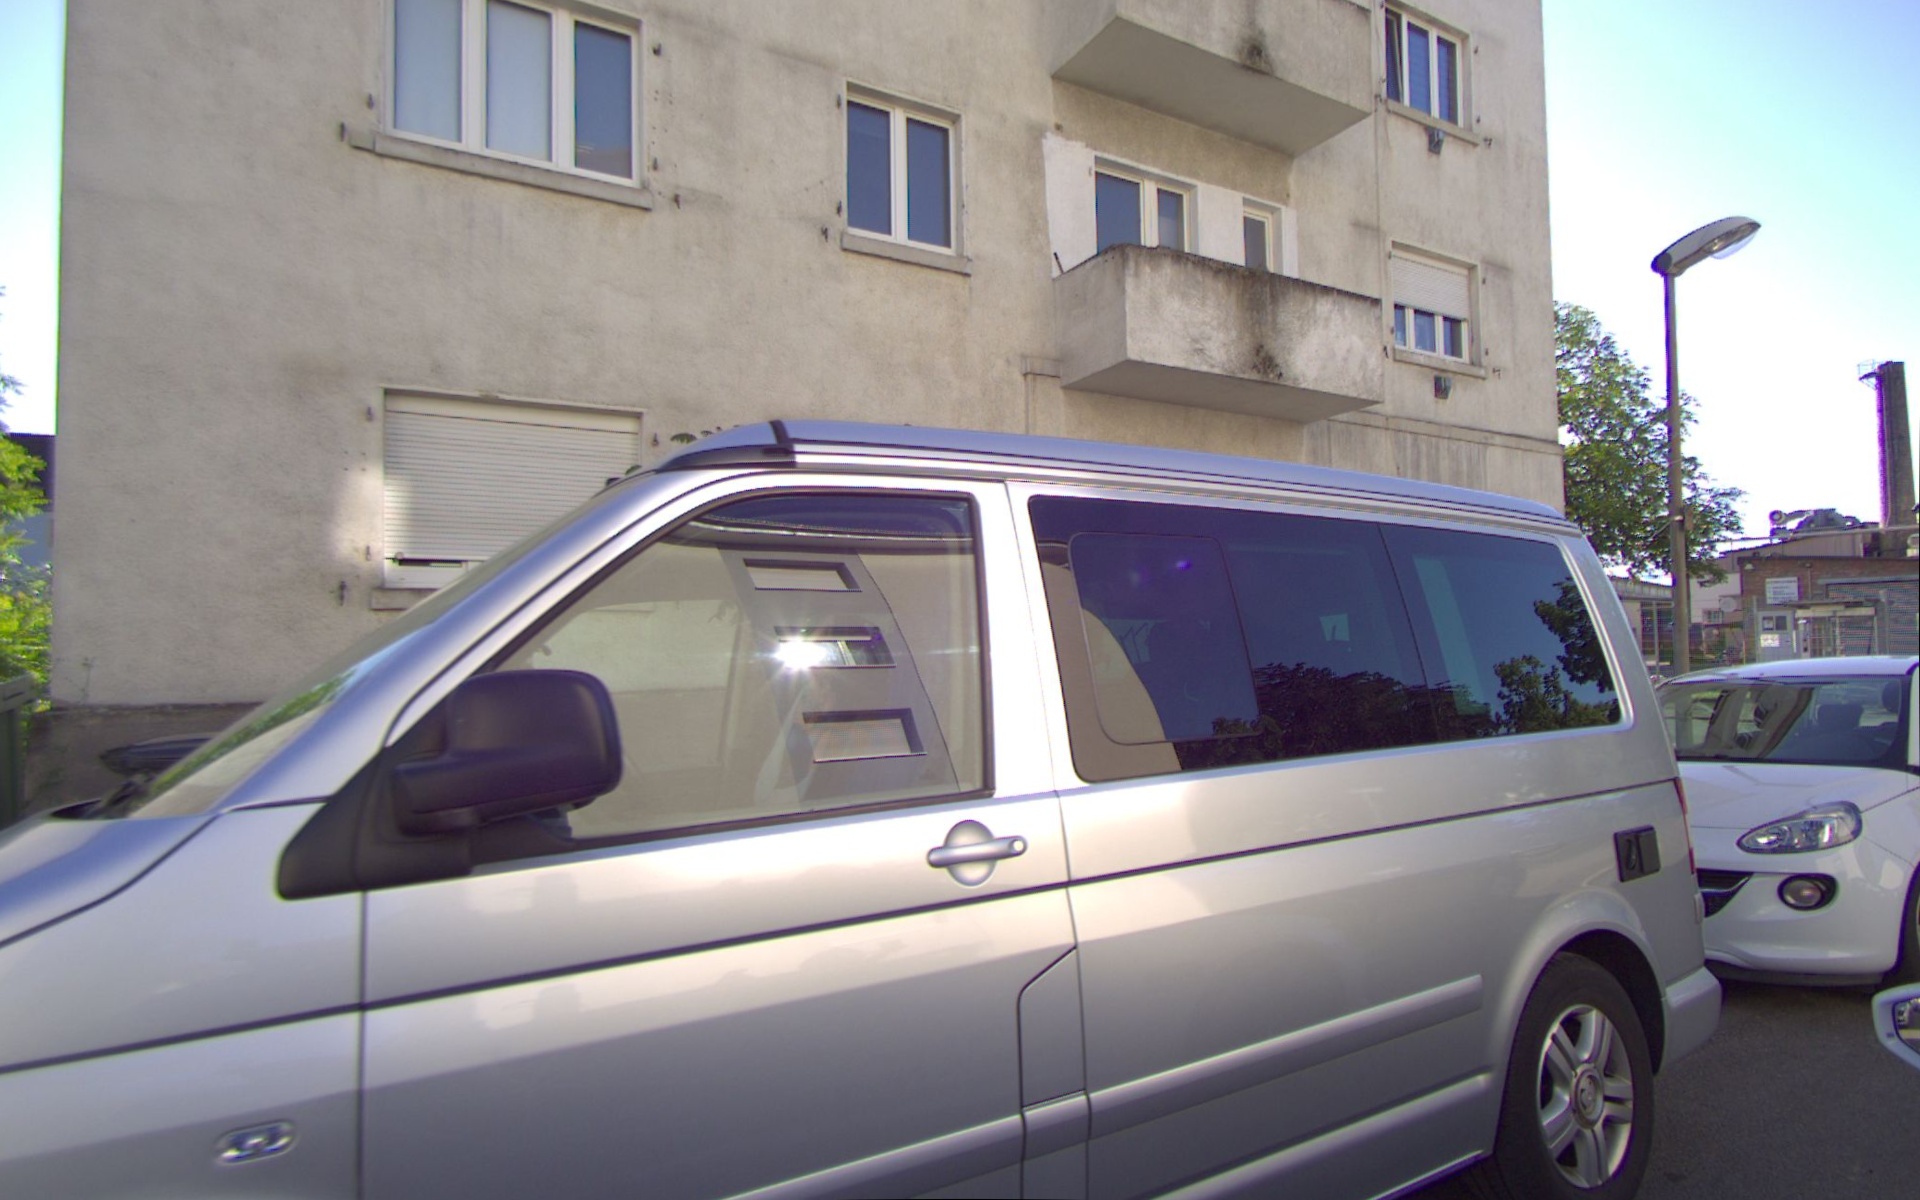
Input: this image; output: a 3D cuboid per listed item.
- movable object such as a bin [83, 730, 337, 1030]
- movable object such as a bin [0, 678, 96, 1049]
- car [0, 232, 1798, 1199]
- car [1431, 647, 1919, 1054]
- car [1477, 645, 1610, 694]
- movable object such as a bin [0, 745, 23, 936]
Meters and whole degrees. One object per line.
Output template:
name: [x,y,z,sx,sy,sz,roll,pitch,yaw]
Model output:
movable object such as a bin: [-3.318,1.182,4.540,0.806,1.093,0.769,1,-3,-30]
movable object such as a bin: [-4.445,1.049,4.177,1.032,1.394,1.250,1,-3,-30]
car: [-0.127,0.702,2.620,4.799,1.958,1.942,1,-5,-30]
car: [4.476,1.020,5.345,3.675,1.477,1.681,1,-5,-29]
car: [18.583,2.194,31.979,3.954,1.438,1.984,1,-4,-31]
movable object such as a bin: [-5.293,1.280,5.105,0.584,0.987,0.769,1,-3,-29]
